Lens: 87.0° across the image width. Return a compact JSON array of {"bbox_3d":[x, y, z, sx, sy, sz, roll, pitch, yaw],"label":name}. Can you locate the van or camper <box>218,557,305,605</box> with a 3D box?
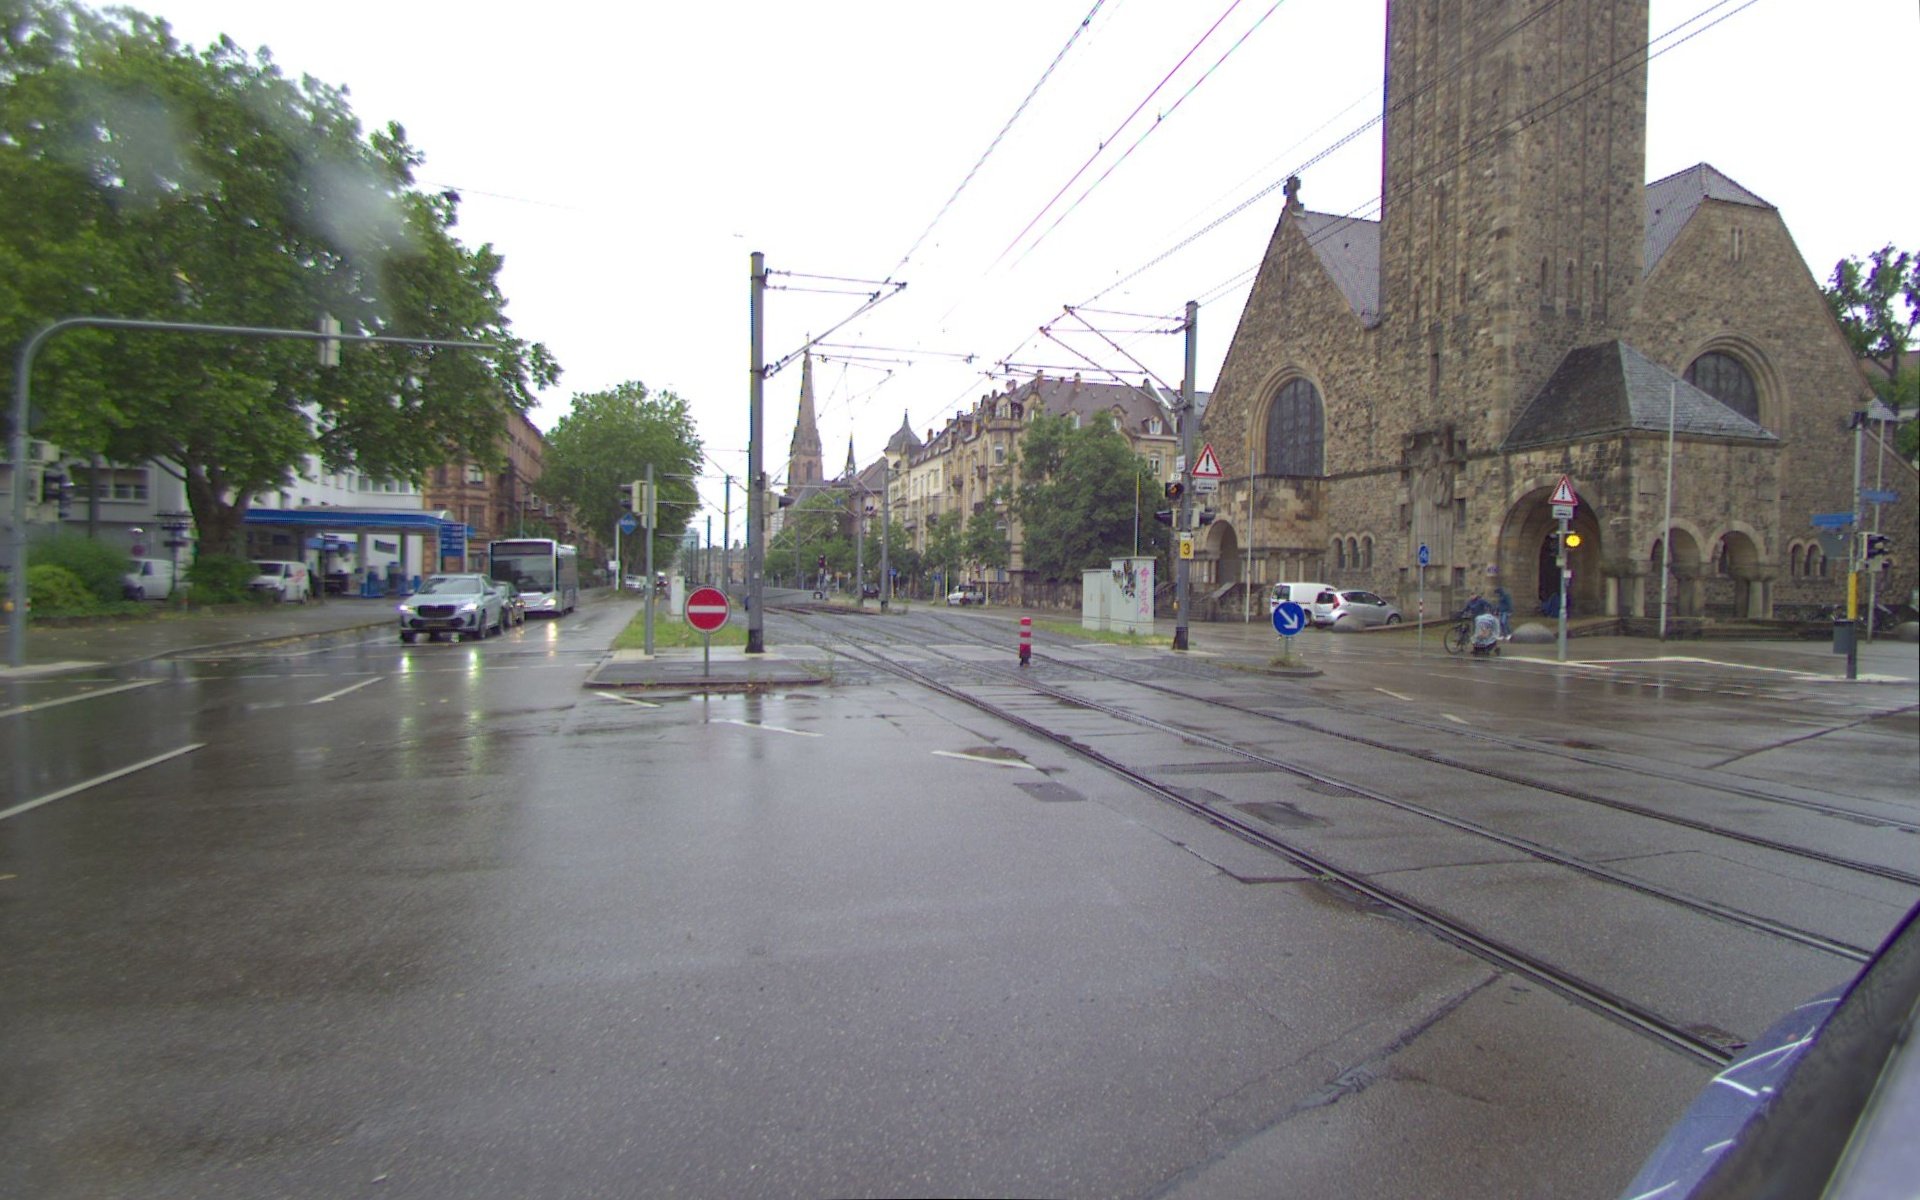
[{"bbox_3d":[-29.965,-0.831,43.573,1.958,1.938,4.681,1,1,-20],"label":"van or camper"}]

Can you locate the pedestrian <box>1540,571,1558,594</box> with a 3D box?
[{"bbox_3d":[22.988,-0.678,39.518,0.447,0.895,0.397,1,1,-18],"label":"pedestrian"}]

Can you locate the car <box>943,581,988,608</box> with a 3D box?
[{"bbox_3d":[0.343,-0.401,72.105,1.939,1.816,4.009,0,1,-20],"label":"car"}]

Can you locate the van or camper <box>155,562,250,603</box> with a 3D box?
[{"bbox_3d":[-32.147,-0.768,43.106,1.958,1.619,4.681,1,1,-20],"label":"van or camper"}]

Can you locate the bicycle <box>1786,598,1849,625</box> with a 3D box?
[{"bbox_3d":[36.924,0.491,43.606,0.564,1.062,2.014,1,2,-23],"label":"bicycle"}]

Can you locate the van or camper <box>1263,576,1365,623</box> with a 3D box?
[{"bbox_3d":[15.146,-0.062,43.360,3.848,1.749,1.652,-3,2,-17],"label":"van or camper"}]

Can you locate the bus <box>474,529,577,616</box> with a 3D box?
[{"bbox_3d":[-18.240,-1.126,43.189,2.832,3.152,12.129,1,1,-18],"label":"bus"}]

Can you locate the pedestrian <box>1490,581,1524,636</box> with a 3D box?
[{"bbox_3d":[17.602,0.272,32.559,0.664,1.724,0.635,1,1,-20],"label":"pedestrian"}]

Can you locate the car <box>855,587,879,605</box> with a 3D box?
[{"bbox_3d":[-9.816,-0.470,106.336,1.744,1.799,4.009,0,1,-17],"label":"car"}]

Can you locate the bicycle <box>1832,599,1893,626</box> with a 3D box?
[{"bbox_3d":[39.366,0.530,44.166,0.569,1.073,1.933,1,2,-19],"label":"bicycle"}]

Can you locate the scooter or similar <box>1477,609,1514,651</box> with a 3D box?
[{"bbox_3d":[14.017,0.784,26.474,0.907,1.062,0.514,1,1,-38],"label":"scooter or similar"}]

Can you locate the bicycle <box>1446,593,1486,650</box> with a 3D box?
[{"bbox_3d":[13.699,0.560,27.393,0.531,1.485,1.912,1,1,39],"label":"bicycle"}]

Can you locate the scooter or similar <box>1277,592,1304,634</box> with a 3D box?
[{"bbox_3d":[11.525,0.446,35.325,0.280,1.404,1.106,1,1,-18],"label":"scooter or similar"}]

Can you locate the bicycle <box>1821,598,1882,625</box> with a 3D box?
[{"bbox_3d":[38.708,0.478,43.961,0.569,1.073,1.933,1,2,-19],"label":"bicycle"}]

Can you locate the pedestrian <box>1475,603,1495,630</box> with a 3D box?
[{"bbox_3d":[17.955,0.555,34.618,0.388,0.895,0.457,1,1,-20],"label":"pedestrian"}]

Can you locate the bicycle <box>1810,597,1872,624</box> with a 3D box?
[{"bbox_3d":[38.065,0.461,43.757,0.569,1.073,1.933,1,2,-21],"label":"bicycle"}]

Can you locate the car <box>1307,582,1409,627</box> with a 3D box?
[{"bbox_3d":[15.742,0.151,40.090,3.289,1.593,1.740,-3,2,-14],"label":"car"}]

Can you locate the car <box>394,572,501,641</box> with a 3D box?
[{"bbox_3d":[-13.261,0.108,26.442,1.754,1.619,4.565,1,1,-17],"label":"car"}]

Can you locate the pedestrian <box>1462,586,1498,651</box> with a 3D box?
[{"bbox_3d":[13.855,0.489,26.954,0.676,1.684,0.604,1,1,-37],"label":"pedestrian"}]

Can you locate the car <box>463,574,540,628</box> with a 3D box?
[{"bbox_3d":[-14.797,-0.022,32.842,1.741,1.619,4.188,1,1,-17],"label":"car"}]

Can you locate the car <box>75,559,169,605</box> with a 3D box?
[{"bbox_3d":[-35.094,-0.767,42.528,1.702,1.801,4.271,1,1,-20],"label":"car"}]

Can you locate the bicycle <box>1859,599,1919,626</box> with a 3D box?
[{"bbox_3d":[40.935,0.537,44.565,0.593,1.080,1.987,1,2,-18],"label":"bicycle"}]

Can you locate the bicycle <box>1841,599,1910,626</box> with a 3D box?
[{"bbox_3d":[40.046,0.528,44.284,0.663,1.073,2.161,1,2,-19],"label":"bicycle"}]

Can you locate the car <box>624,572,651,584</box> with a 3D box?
[{"bbox_3d":[-47.304,-3.189,148.549,3.740,1.644,1.780,1,1,-16],"label":"car"}]

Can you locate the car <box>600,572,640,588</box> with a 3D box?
[{"bbox_3d":[-37.363,-2.211,111.320,3.754,1.644,1.773,0,1,-42],"label":"car"}]

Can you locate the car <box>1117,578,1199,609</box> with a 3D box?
[{"bbox_3d":[10.936,-0.353,55.942,3.916,1.638,2.005,0,1,-16],"label":"car"}]

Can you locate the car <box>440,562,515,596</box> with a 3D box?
[{"bbox_3d":[-29.755,-1.294,62.537,3.916,2.039,2.005,0,1,-18],"label":"car"}]
